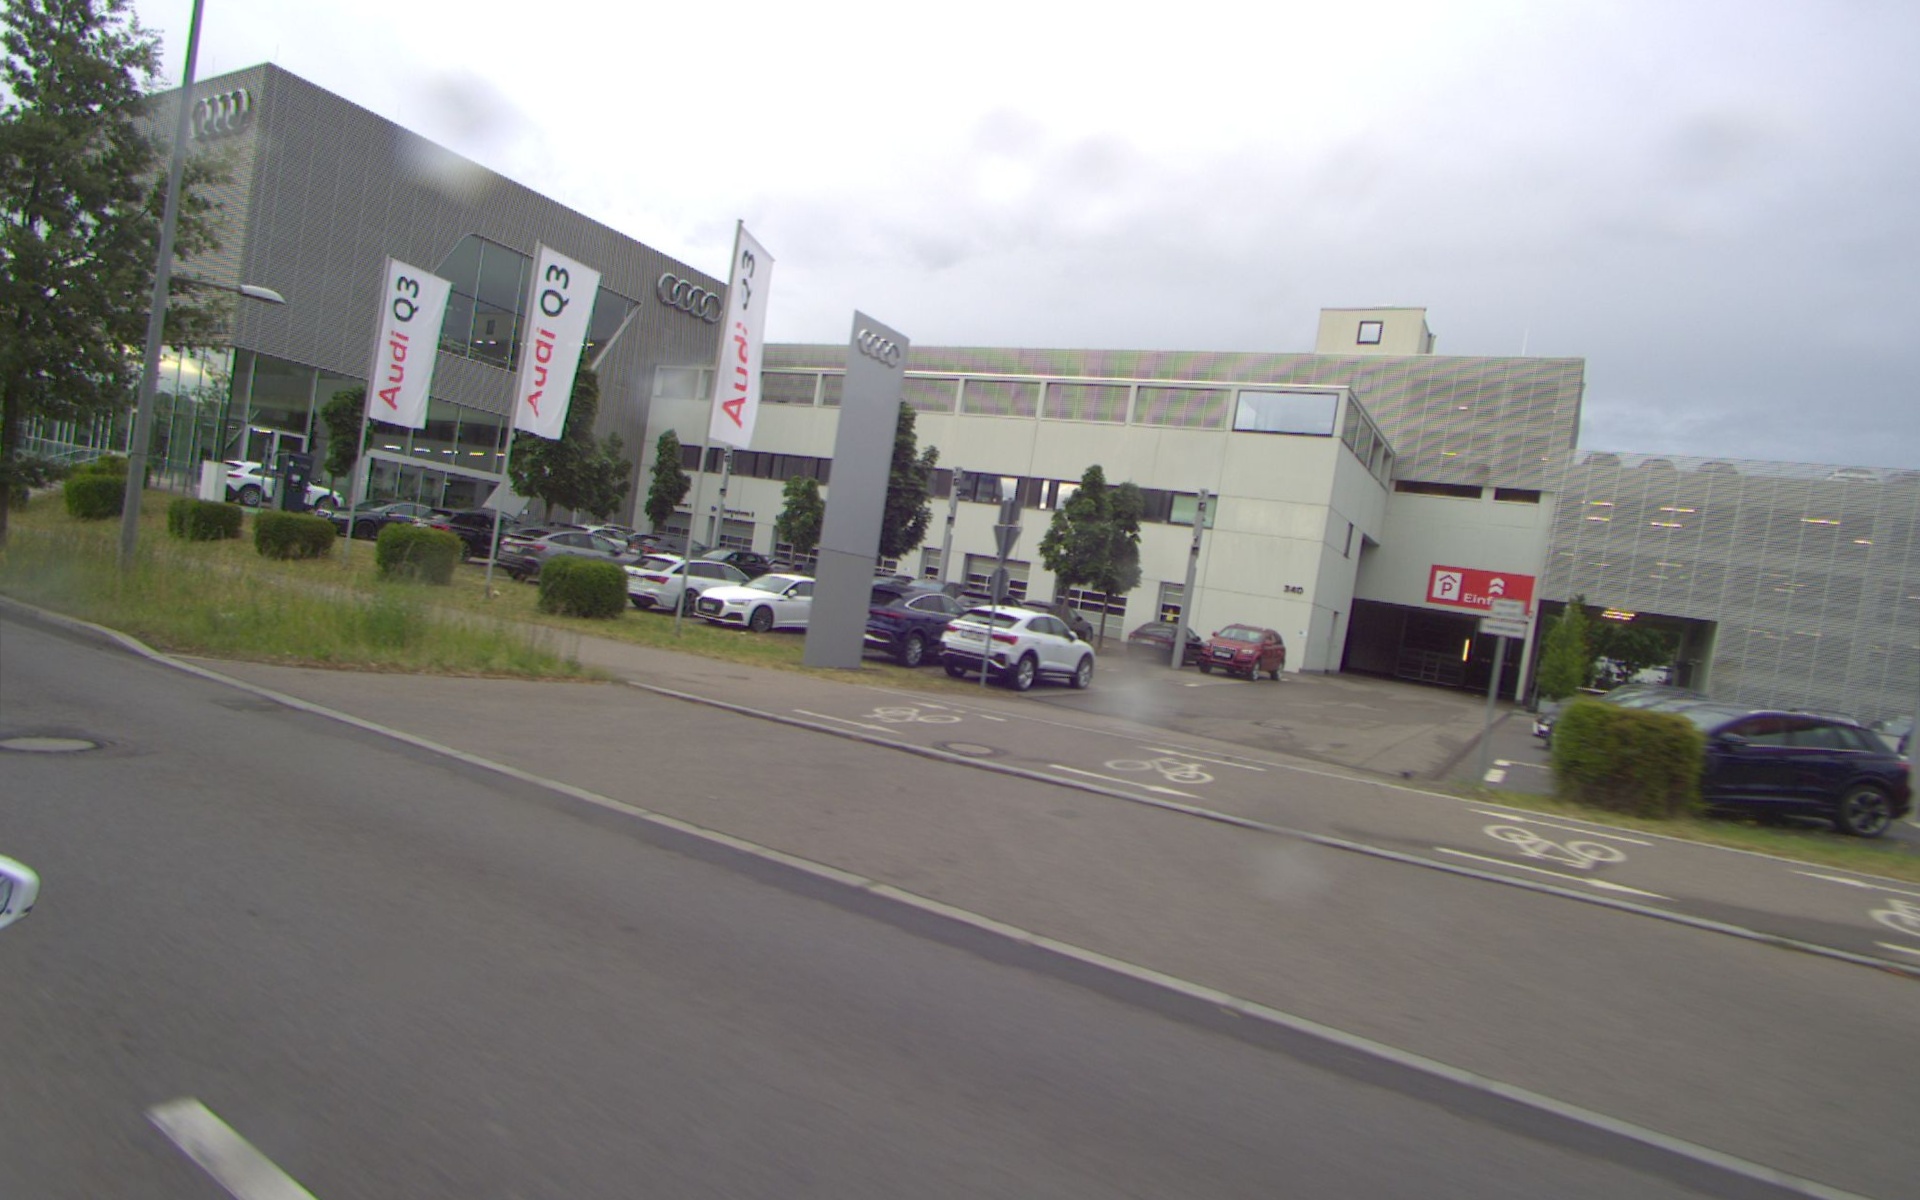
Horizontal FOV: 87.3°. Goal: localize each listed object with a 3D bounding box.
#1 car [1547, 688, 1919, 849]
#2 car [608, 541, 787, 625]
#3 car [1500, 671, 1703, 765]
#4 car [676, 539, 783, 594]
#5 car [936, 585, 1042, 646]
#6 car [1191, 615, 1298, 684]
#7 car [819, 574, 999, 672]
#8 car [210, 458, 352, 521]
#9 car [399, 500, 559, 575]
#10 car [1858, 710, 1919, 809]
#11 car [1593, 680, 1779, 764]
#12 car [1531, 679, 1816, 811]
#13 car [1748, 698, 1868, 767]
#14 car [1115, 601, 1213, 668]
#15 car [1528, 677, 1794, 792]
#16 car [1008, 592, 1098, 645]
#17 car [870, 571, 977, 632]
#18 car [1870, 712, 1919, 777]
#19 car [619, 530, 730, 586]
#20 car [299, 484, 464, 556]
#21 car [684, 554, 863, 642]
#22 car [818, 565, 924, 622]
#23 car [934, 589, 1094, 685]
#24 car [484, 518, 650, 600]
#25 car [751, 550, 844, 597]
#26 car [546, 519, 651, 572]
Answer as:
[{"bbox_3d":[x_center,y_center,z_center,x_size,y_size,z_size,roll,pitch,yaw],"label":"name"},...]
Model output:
[{"bbox_3d":[11.308,2.391,14.654,4.279,1.612,1.838,7,-1,1],"label":"car"},{"bbox_3d":[-6.665,-0.381,26.057,1.664,1.613,4.528,6,-2,31],"label":"car"},{"bbox_3d":[15.085,2.753,23.800,3.496,1.614,1.771,7,2,0],"label":"car"},{"bbox_3d":[-9.160,-1.302,40.373,1.664,1.593,4.112,8,0,31],"label":"car"},{"bbox_3d":[1.060,0.557,33.959,1.664,1.592,4.113,6,-2,31],"label":"car"},{"bbox_3d":[9.873,1.742,34.662,1.969,1.876,4.531,7,-2,35],"label":"car"},{"bbox_3d":[-1.022,0.579,22.348,1.840,1.612,4.114,9,-1,31],"label":"car"},{"bbox_3d":[-27.038,-4.380,40.210,1.664,1.592,4.268,8,-2,31],"label":"car"},{"bbox_3d":[-14.841,-1.886,31.237,1.664,1.592,4.114,8,-1,31],"label":"car"},{"bbox_3d":[18.388,3.055,18.246,1.897,1.571,4.468,6,1,27],"label":"car"},{"bbox_3d":[19.294,3.212,26.854,3.496,1.614,1.771,7,2,0],"label":"car"},{"bbox_3d":[12.244,2.465,17.445,3.496,1.614,1.771,7,2,0],"label":"car"},{"bbox_3d":[24.888,3.839,29.685,1.796,1.612,4.285,6,-1,29],"label":"car"},{"bbox_3d":[7.391,1.286,36.117,1.967,1.898,3.993,8,-1,32],"label":"car"},{"bbox_3d":[13.942,2.647,20.177,3.919,1.614,1.771,7,2,0],"label":"car"},{"bbox_3d":[3.632,0.733,38.773,1.664,1.593,4.112,7,-1,32],"label":"car"},{"bbox_3d":[-1.214,0.103,35.359,1.664,1.592,4.114,7,-2,31],"label":"car"},{"bbox_3d":[26.933,4.064,27.634,1.796,1.612,4.285,6,-1,29],"label":"car"},{"bbox_3d":[-11.665,-1.680,41.326,1.795,1.592,4.114,8,-2,31],"label":"car"},{"bbox_3d":[-19.331,-2.628,33.812,1.664,1.592,4.430,8,-2,31],"label":"car"},{"bbox_3d":[-4.487,0.000,24.721,1.668,1.612,4.105,6,-2,39],"label":"car"},{"bbox_3d":[-3.229,-0.210,37.310,1.664,1.593,4.112,8,-1,31],"label":"car"},{"bbox_3d":[1.251,0.846,21.129,1.913,1.612,4.120,6,-2,24],"label":"car"},{"bbox_3d":[-11.050,-1.110,28.568,1.664,1.627,4.114,8,-1,31],"label":"car"},{"bbox_3d":[-7.171,-1.154,44.818,1.664,1.594,4.109,10,3,31],"label":"car"},{"bbox_3d":[-15.927,-2.380,44.560,1.664,1.592,4.114,8,-1,31],"label":"car"}]
